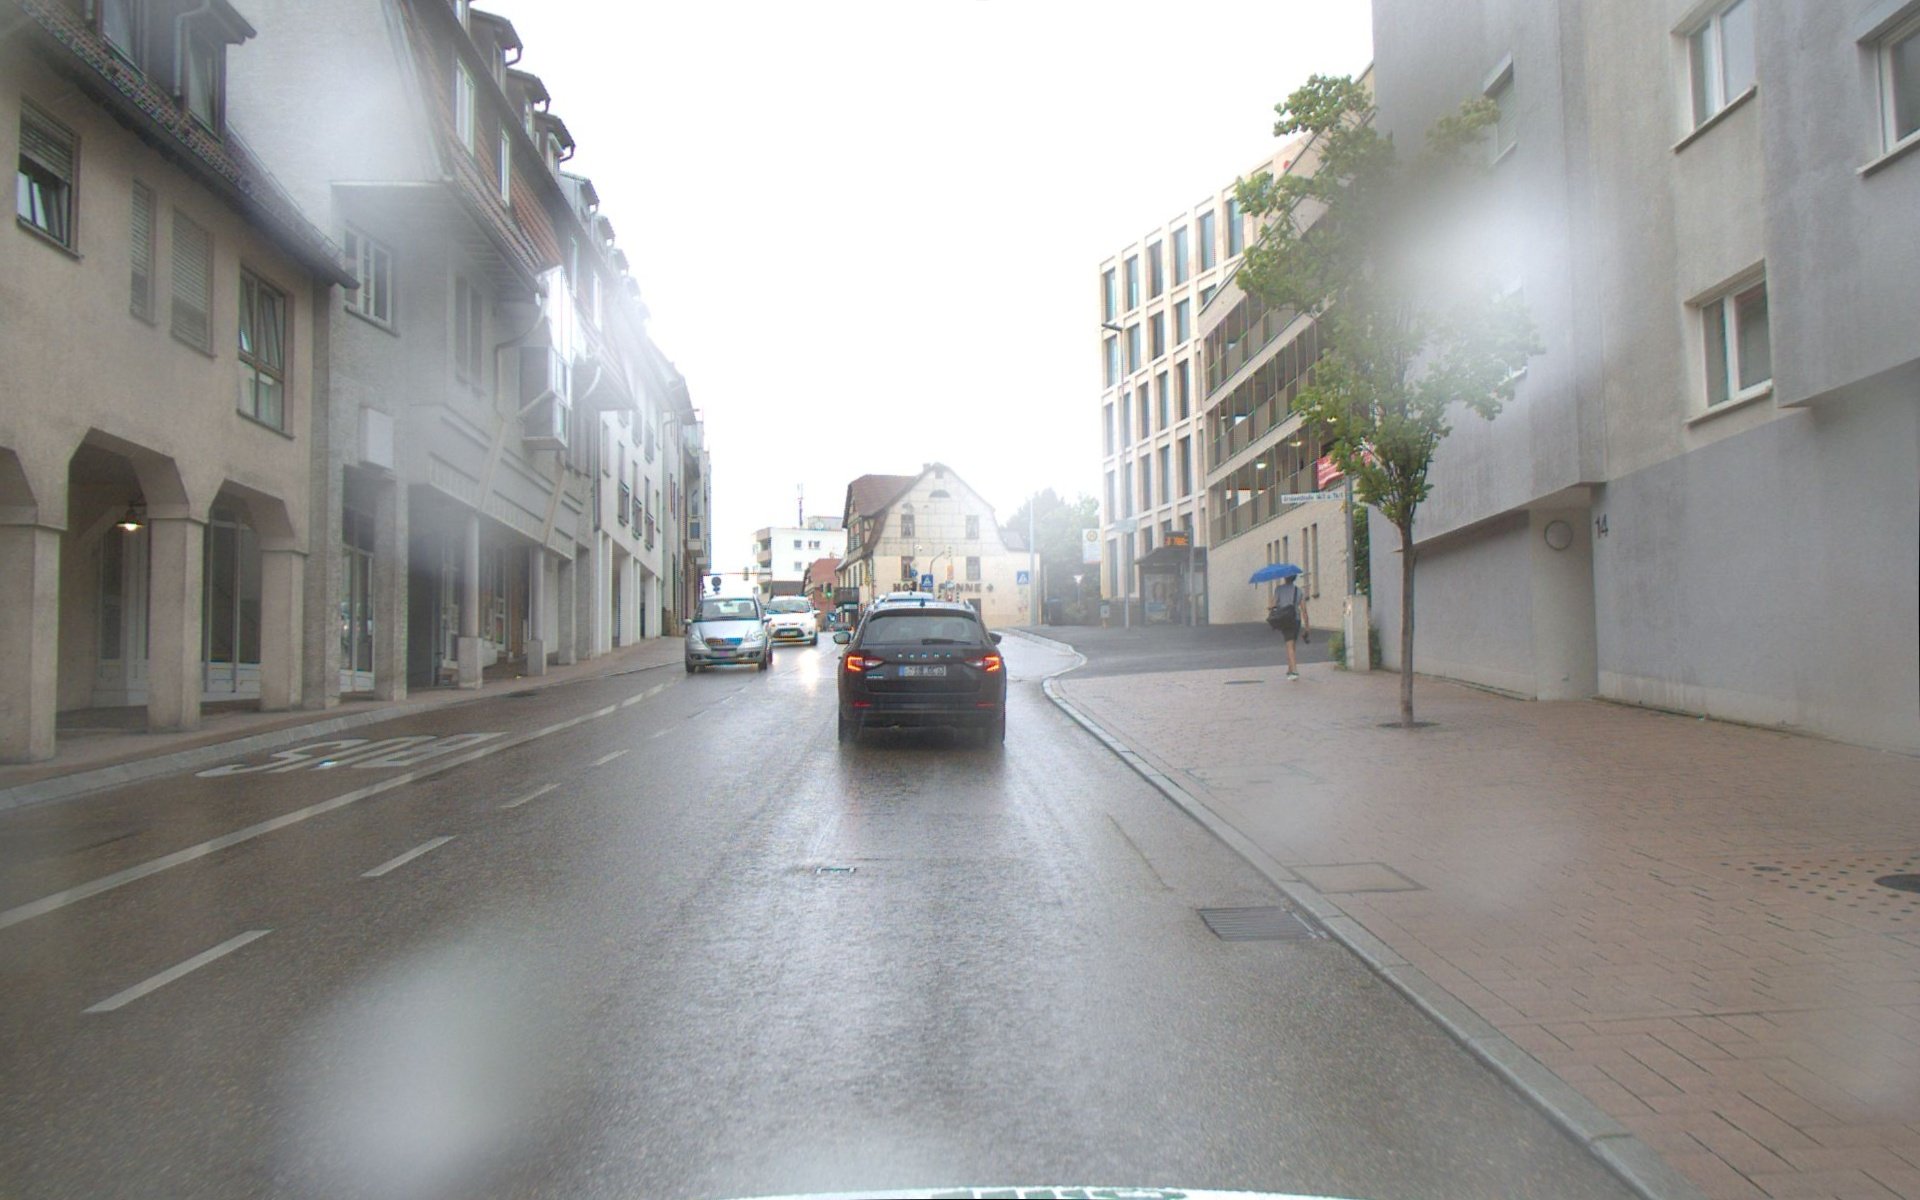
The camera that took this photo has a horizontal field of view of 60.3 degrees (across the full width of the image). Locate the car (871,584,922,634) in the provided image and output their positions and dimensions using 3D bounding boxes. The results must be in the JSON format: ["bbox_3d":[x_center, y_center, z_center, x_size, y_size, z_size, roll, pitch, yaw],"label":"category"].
[{"bbox_3d":[-2.177,0.300,56.820,1.647,1.587,3.998,-2,0,-2],"label":"car"}]

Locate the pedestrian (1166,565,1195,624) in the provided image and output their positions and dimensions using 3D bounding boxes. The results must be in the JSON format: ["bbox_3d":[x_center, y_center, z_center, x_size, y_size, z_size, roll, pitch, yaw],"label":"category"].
[{"bbox_3d":[7.625,-0.189,57.278,0.766,1.974,1.021,-3,0,-2],"label":"pedestrian"}]

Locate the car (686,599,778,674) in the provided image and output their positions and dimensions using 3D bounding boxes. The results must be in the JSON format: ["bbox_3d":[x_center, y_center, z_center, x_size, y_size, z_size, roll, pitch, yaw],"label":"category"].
[{"bbox_3d":[-4.965,0.758,36.388,1.643,1.536,3.587,-1,0,-3],"label":"car"}]

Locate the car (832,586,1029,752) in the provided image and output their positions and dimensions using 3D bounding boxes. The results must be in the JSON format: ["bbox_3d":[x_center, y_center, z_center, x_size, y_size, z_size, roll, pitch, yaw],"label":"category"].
[{"bbox_3d":[-0.352,0.676,18.441,1.905,1.594,4.415,-1,0,-2],"label":"car"}]

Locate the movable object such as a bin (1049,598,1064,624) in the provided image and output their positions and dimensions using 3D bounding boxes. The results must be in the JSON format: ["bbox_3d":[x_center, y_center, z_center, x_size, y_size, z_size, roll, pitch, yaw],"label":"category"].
[{"bbox_3d":[4.045,0.475,69.370,0.583,1.081,0.578,-1,0,-2],"label":"movable object such as a bin"}]

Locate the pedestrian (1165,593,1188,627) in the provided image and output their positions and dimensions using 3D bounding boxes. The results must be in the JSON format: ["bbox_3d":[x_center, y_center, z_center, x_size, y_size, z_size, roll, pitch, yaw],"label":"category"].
[{"bbox_3d":[7.676,0.347,58.721,0.658,1.182,0.635,-3,0,-2],"label":"pedestrian"}]

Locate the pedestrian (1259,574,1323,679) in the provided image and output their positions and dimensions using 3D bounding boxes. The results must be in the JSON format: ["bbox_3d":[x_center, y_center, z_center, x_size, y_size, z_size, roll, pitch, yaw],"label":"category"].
[{"bbox_3d":[5.177,0.407,25.915,0.721,1.569,1.038,-4,0,1],"label":"pedestrian"}]

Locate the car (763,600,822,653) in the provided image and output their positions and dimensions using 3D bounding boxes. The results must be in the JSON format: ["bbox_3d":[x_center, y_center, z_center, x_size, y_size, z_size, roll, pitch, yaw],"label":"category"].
[{"bbox_3d":[-5.136,0.782,51.041,1.644,1.536,3.586,-1,0,-4],"label":"car"}]

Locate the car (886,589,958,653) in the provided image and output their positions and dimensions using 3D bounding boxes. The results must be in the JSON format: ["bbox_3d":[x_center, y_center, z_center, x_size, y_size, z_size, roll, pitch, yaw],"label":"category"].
[{"bbox_3d":[-1.009,0.511,42.302,1.644,1.536,3.586,-1,0,-4],"label":"car"}]
